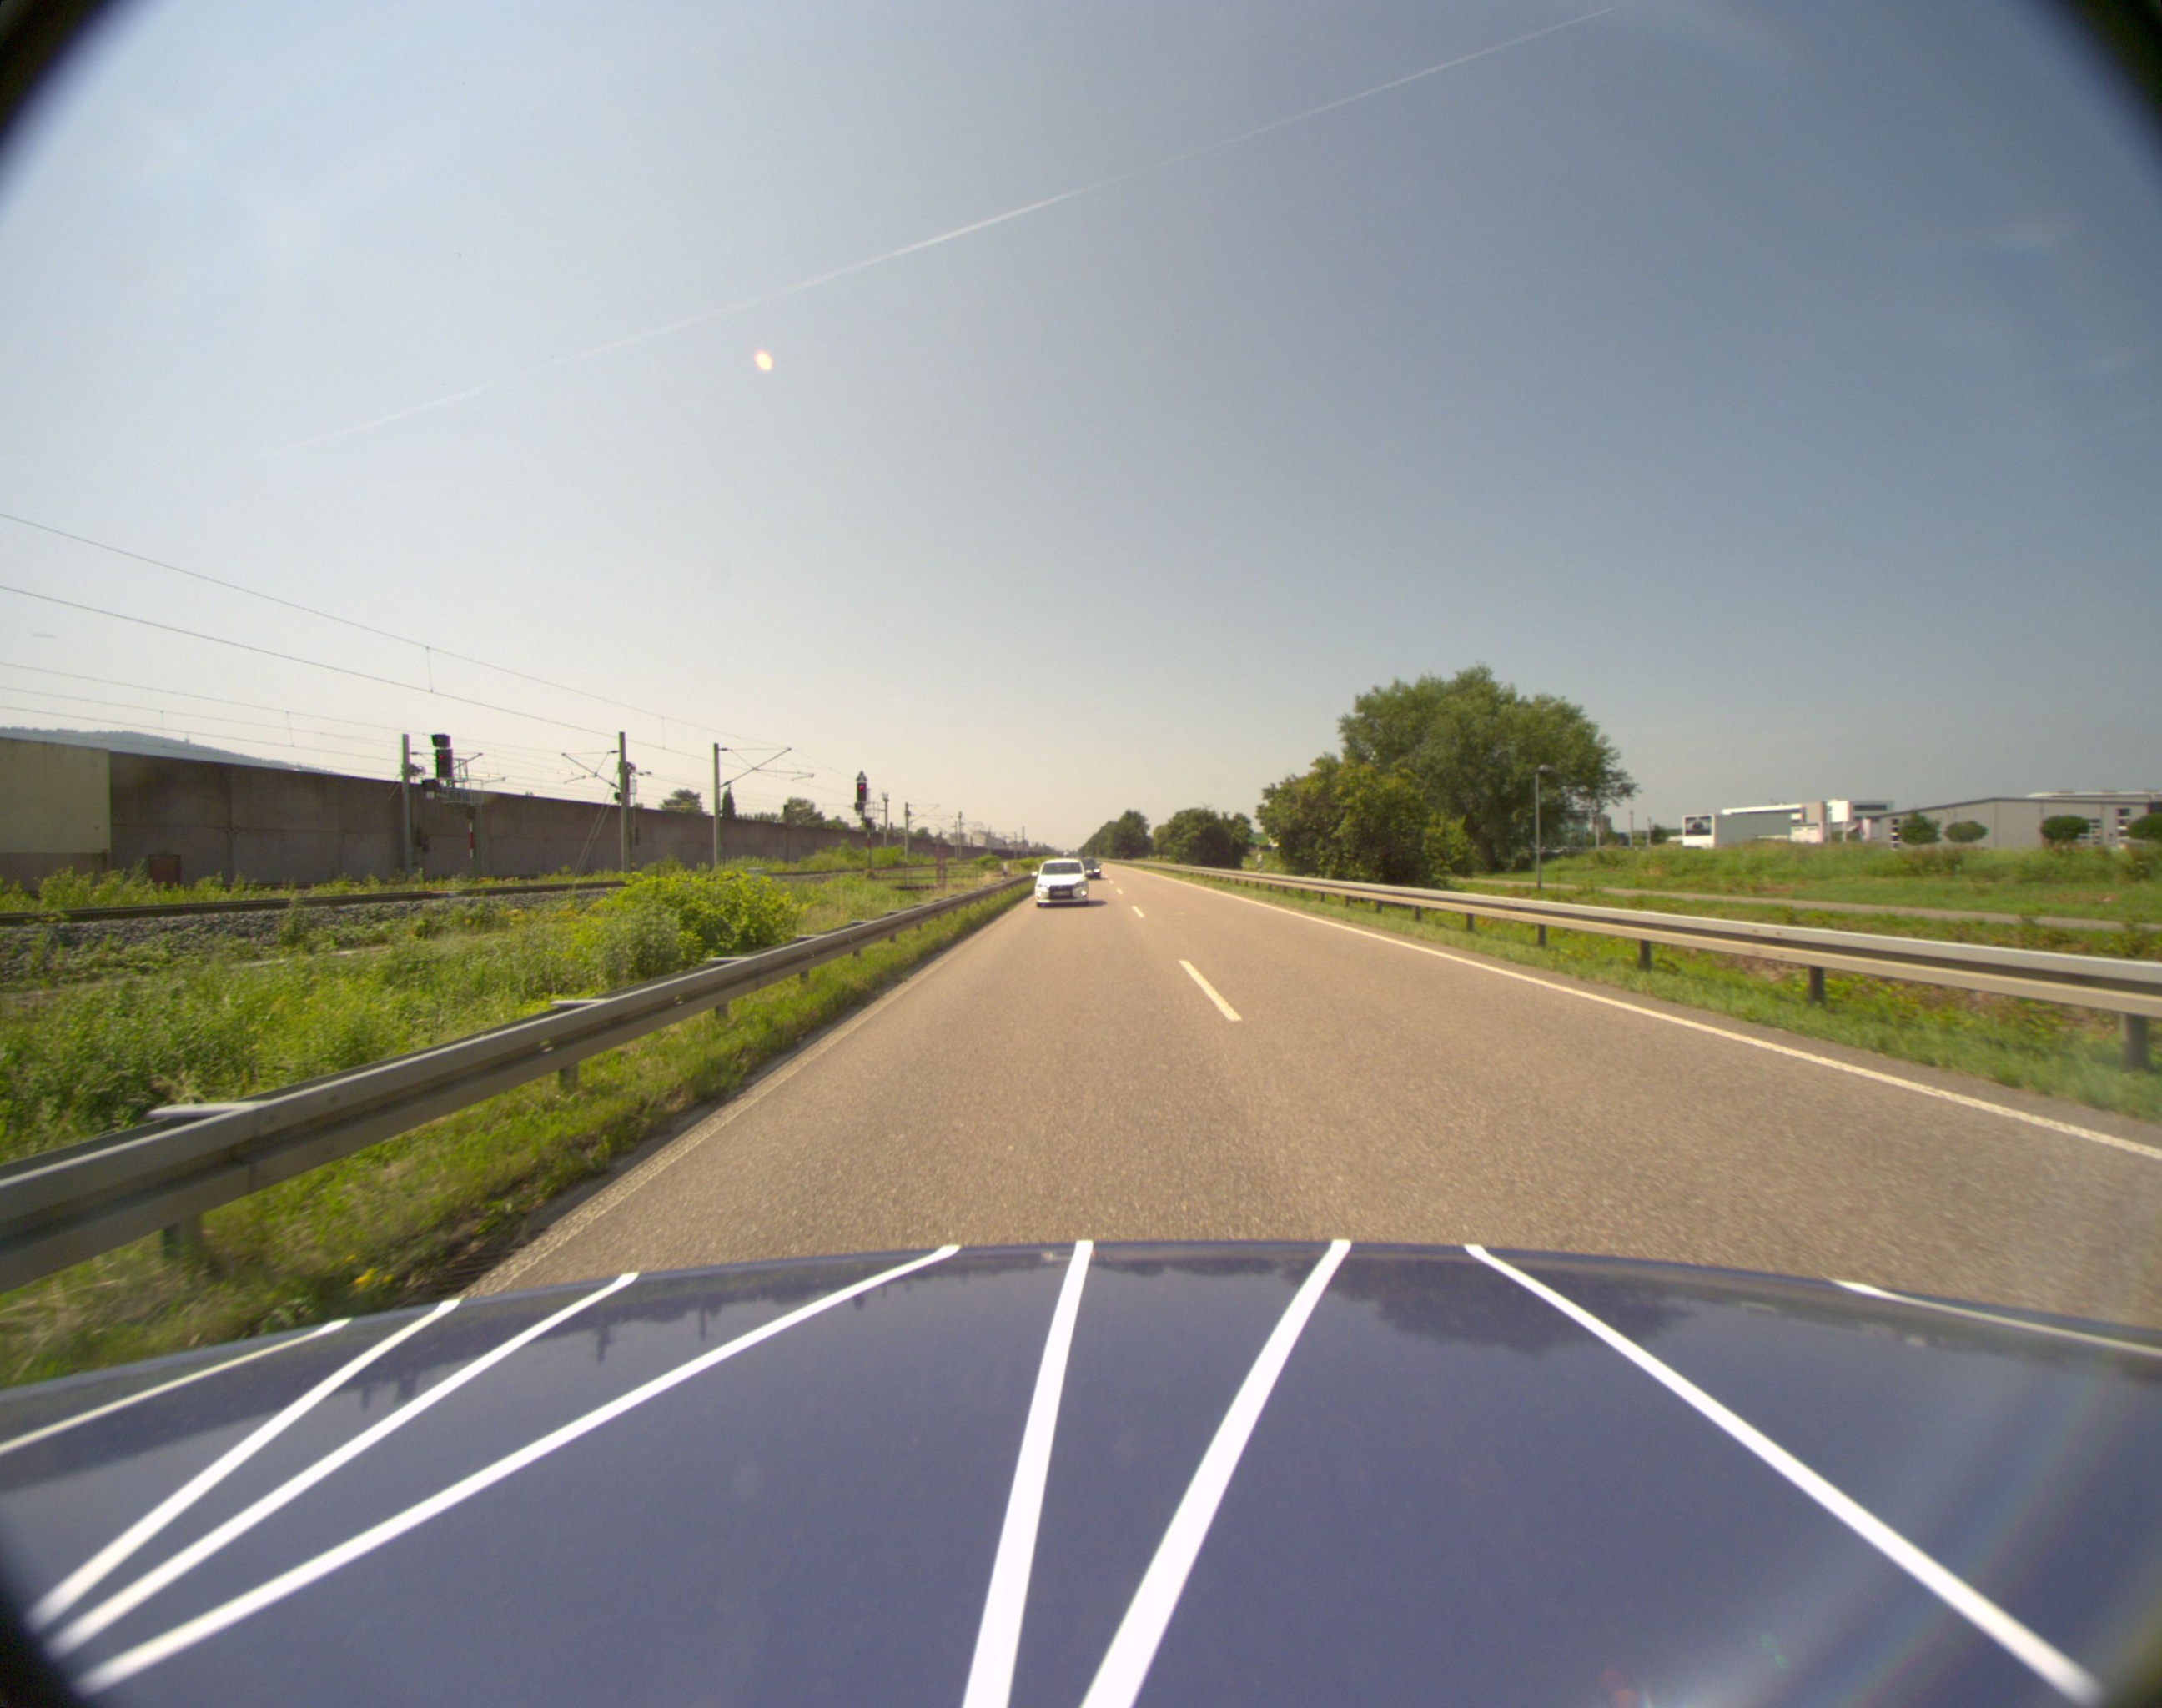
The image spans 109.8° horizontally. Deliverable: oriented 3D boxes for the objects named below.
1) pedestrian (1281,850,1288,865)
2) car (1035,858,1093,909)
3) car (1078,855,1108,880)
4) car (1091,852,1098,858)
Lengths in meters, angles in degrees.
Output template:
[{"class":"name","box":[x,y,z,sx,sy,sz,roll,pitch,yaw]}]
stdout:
[{"class":"pedestrian","box":[23.502,0.363,87.786,0.580,1.740,0.821,0,1,5]},{"class":"car","box":[-0.571,0.919,25.210,1.701,1.470,4.154,-2,0,-2]},{"class":"car","box":[0.703,0.853,48.718,1.711,1.470,4.154,-2,0,-2]},{"class":"car","box":[3.450,0.210,199.283,1.702,1.466,4.686,-2,0,0]}]
